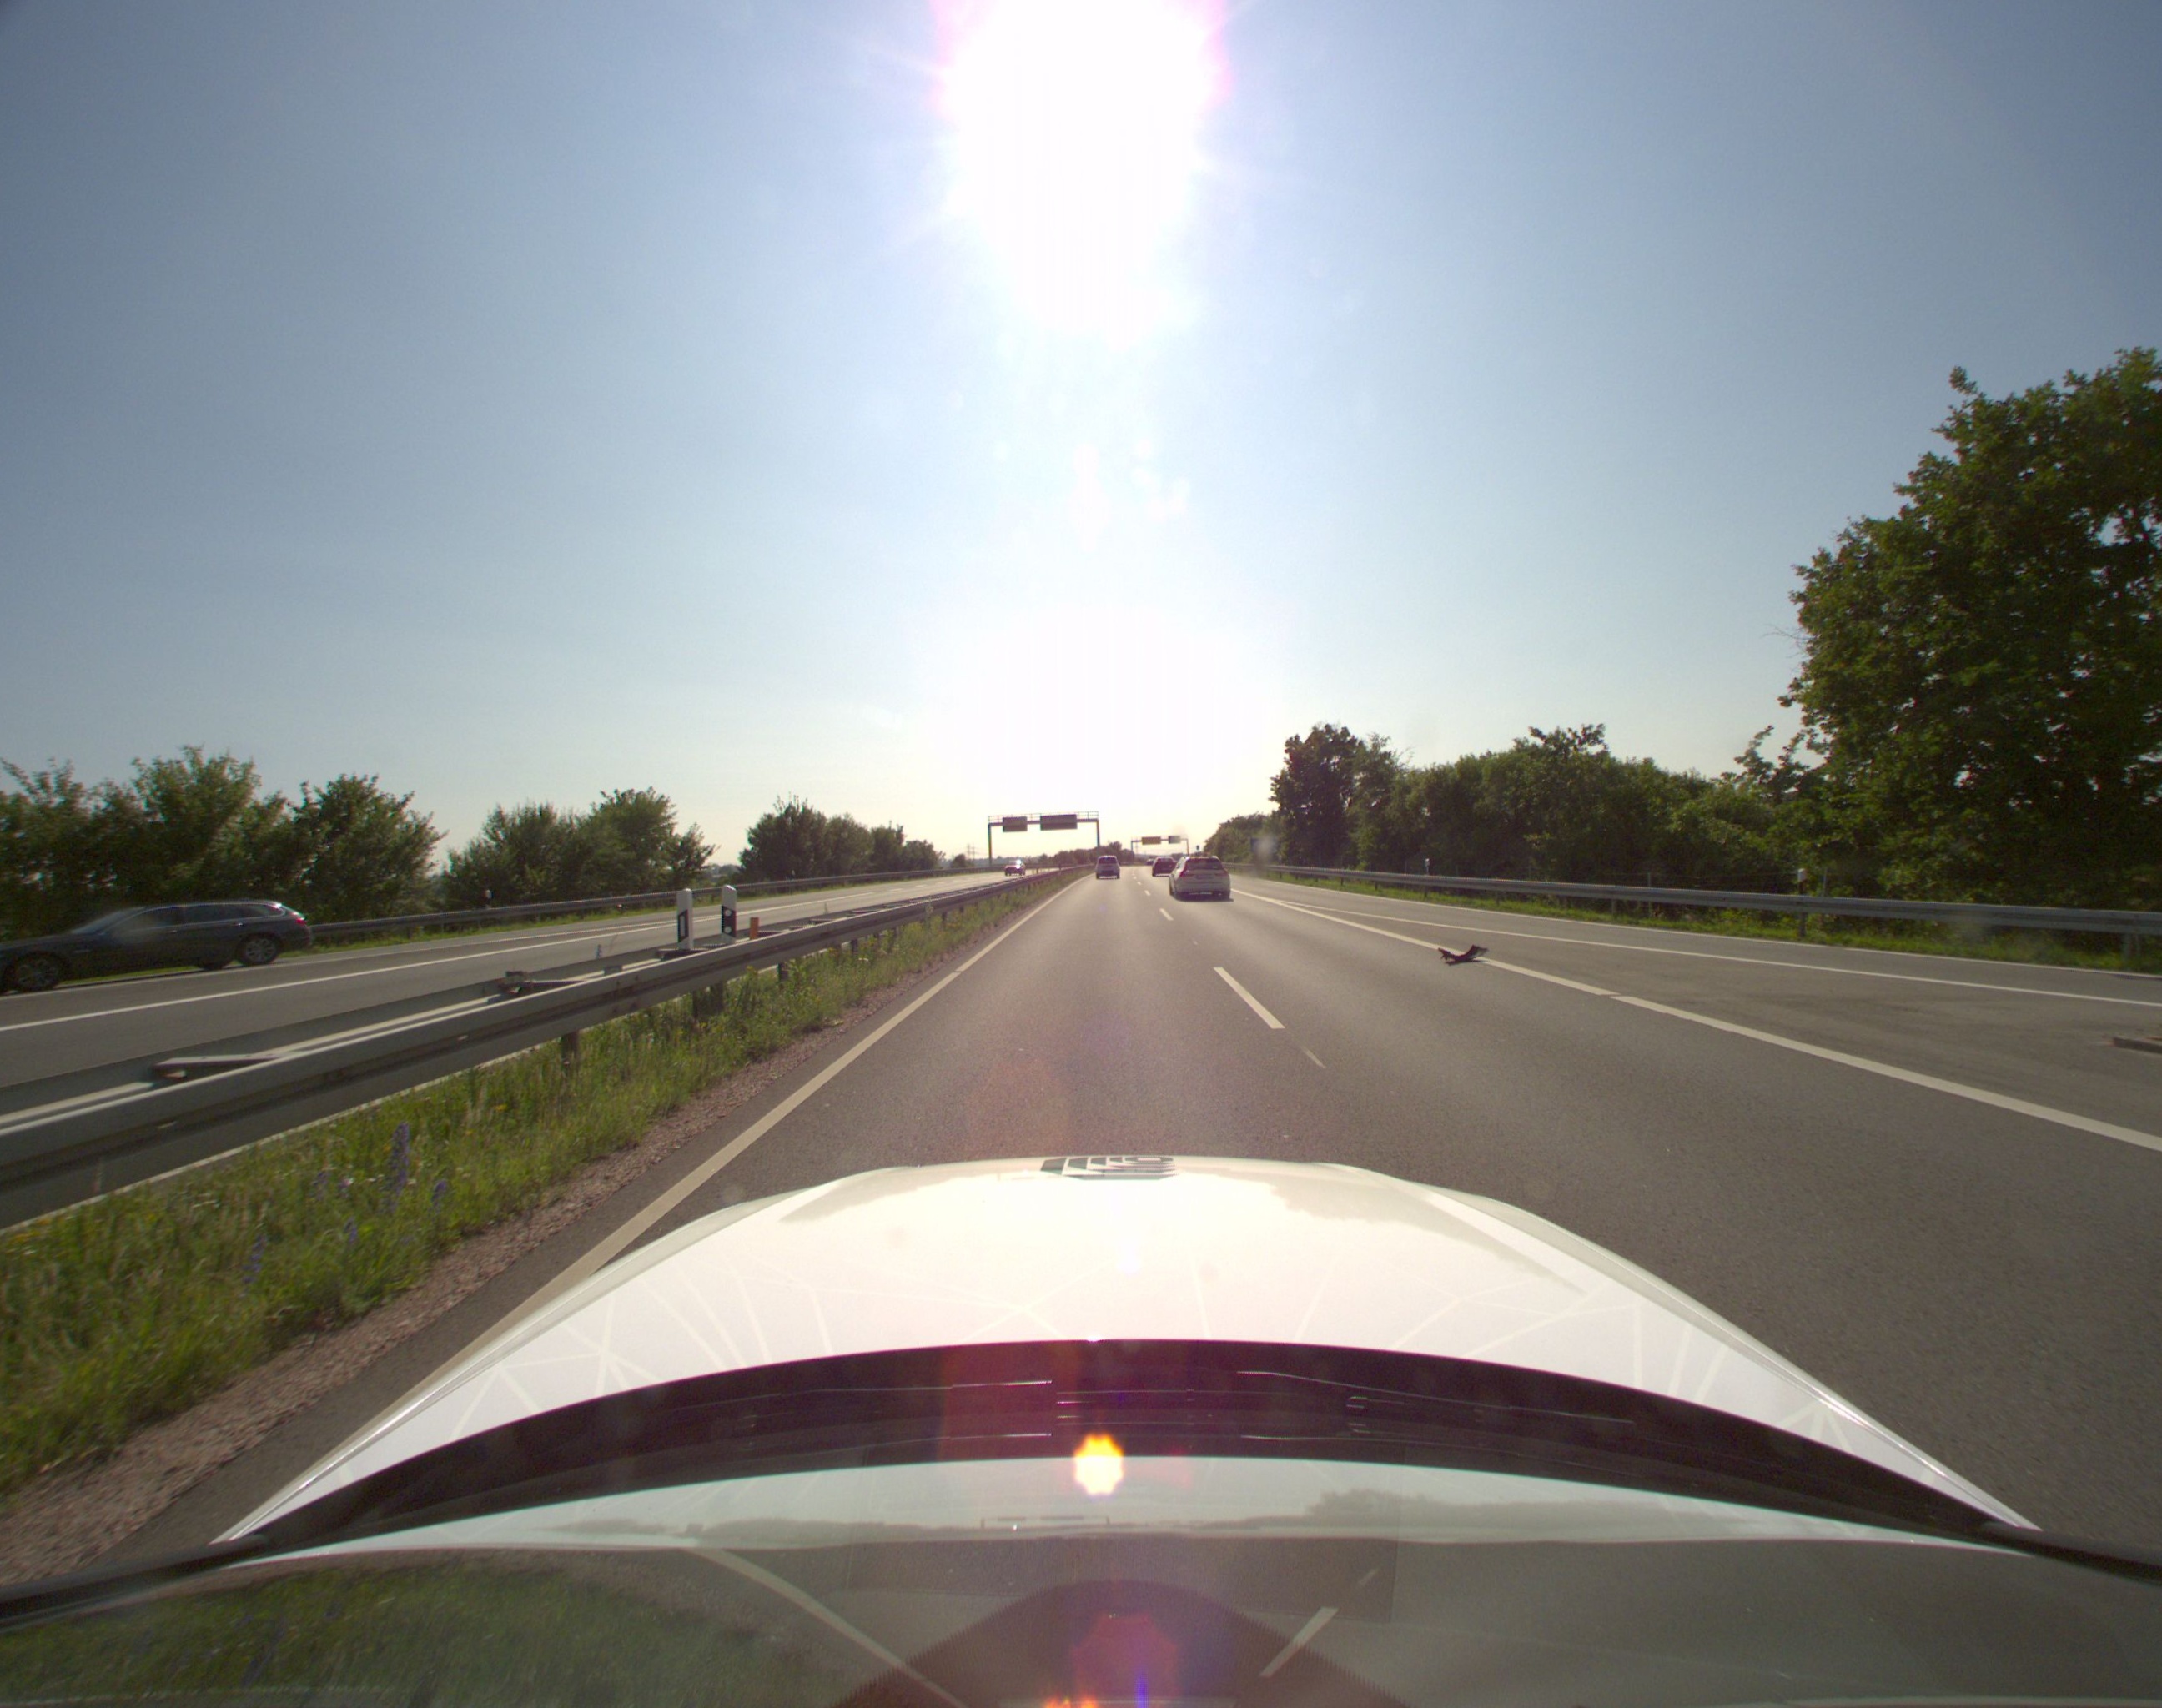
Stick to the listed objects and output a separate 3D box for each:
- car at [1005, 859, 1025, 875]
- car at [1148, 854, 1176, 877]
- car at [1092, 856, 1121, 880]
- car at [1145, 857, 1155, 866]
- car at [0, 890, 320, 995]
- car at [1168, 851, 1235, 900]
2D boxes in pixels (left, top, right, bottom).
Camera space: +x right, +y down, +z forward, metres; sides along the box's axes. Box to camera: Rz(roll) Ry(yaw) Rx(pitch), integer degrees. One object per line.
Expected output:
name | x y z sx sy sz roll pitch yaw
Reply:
car | -6.811 1.289 84.143 1.636 1.575 4.265 0 0 1
car | 5.881 0.858 59.653 1.786 1.543 3.673 -1 -1 2
car | 1.787 0.962 56.341 1.786 1.503 4.046 -3 -2 3
car | 14.848 1.621 175.633 1.984 2.014 4.004 -1 -1 4
car | -18.623 1.701 16.162 1.579 1.494 4.840 -6 -1 21
car | 4.178 0.725 28.810 1.950 1.601 4.110 -1 0 3
